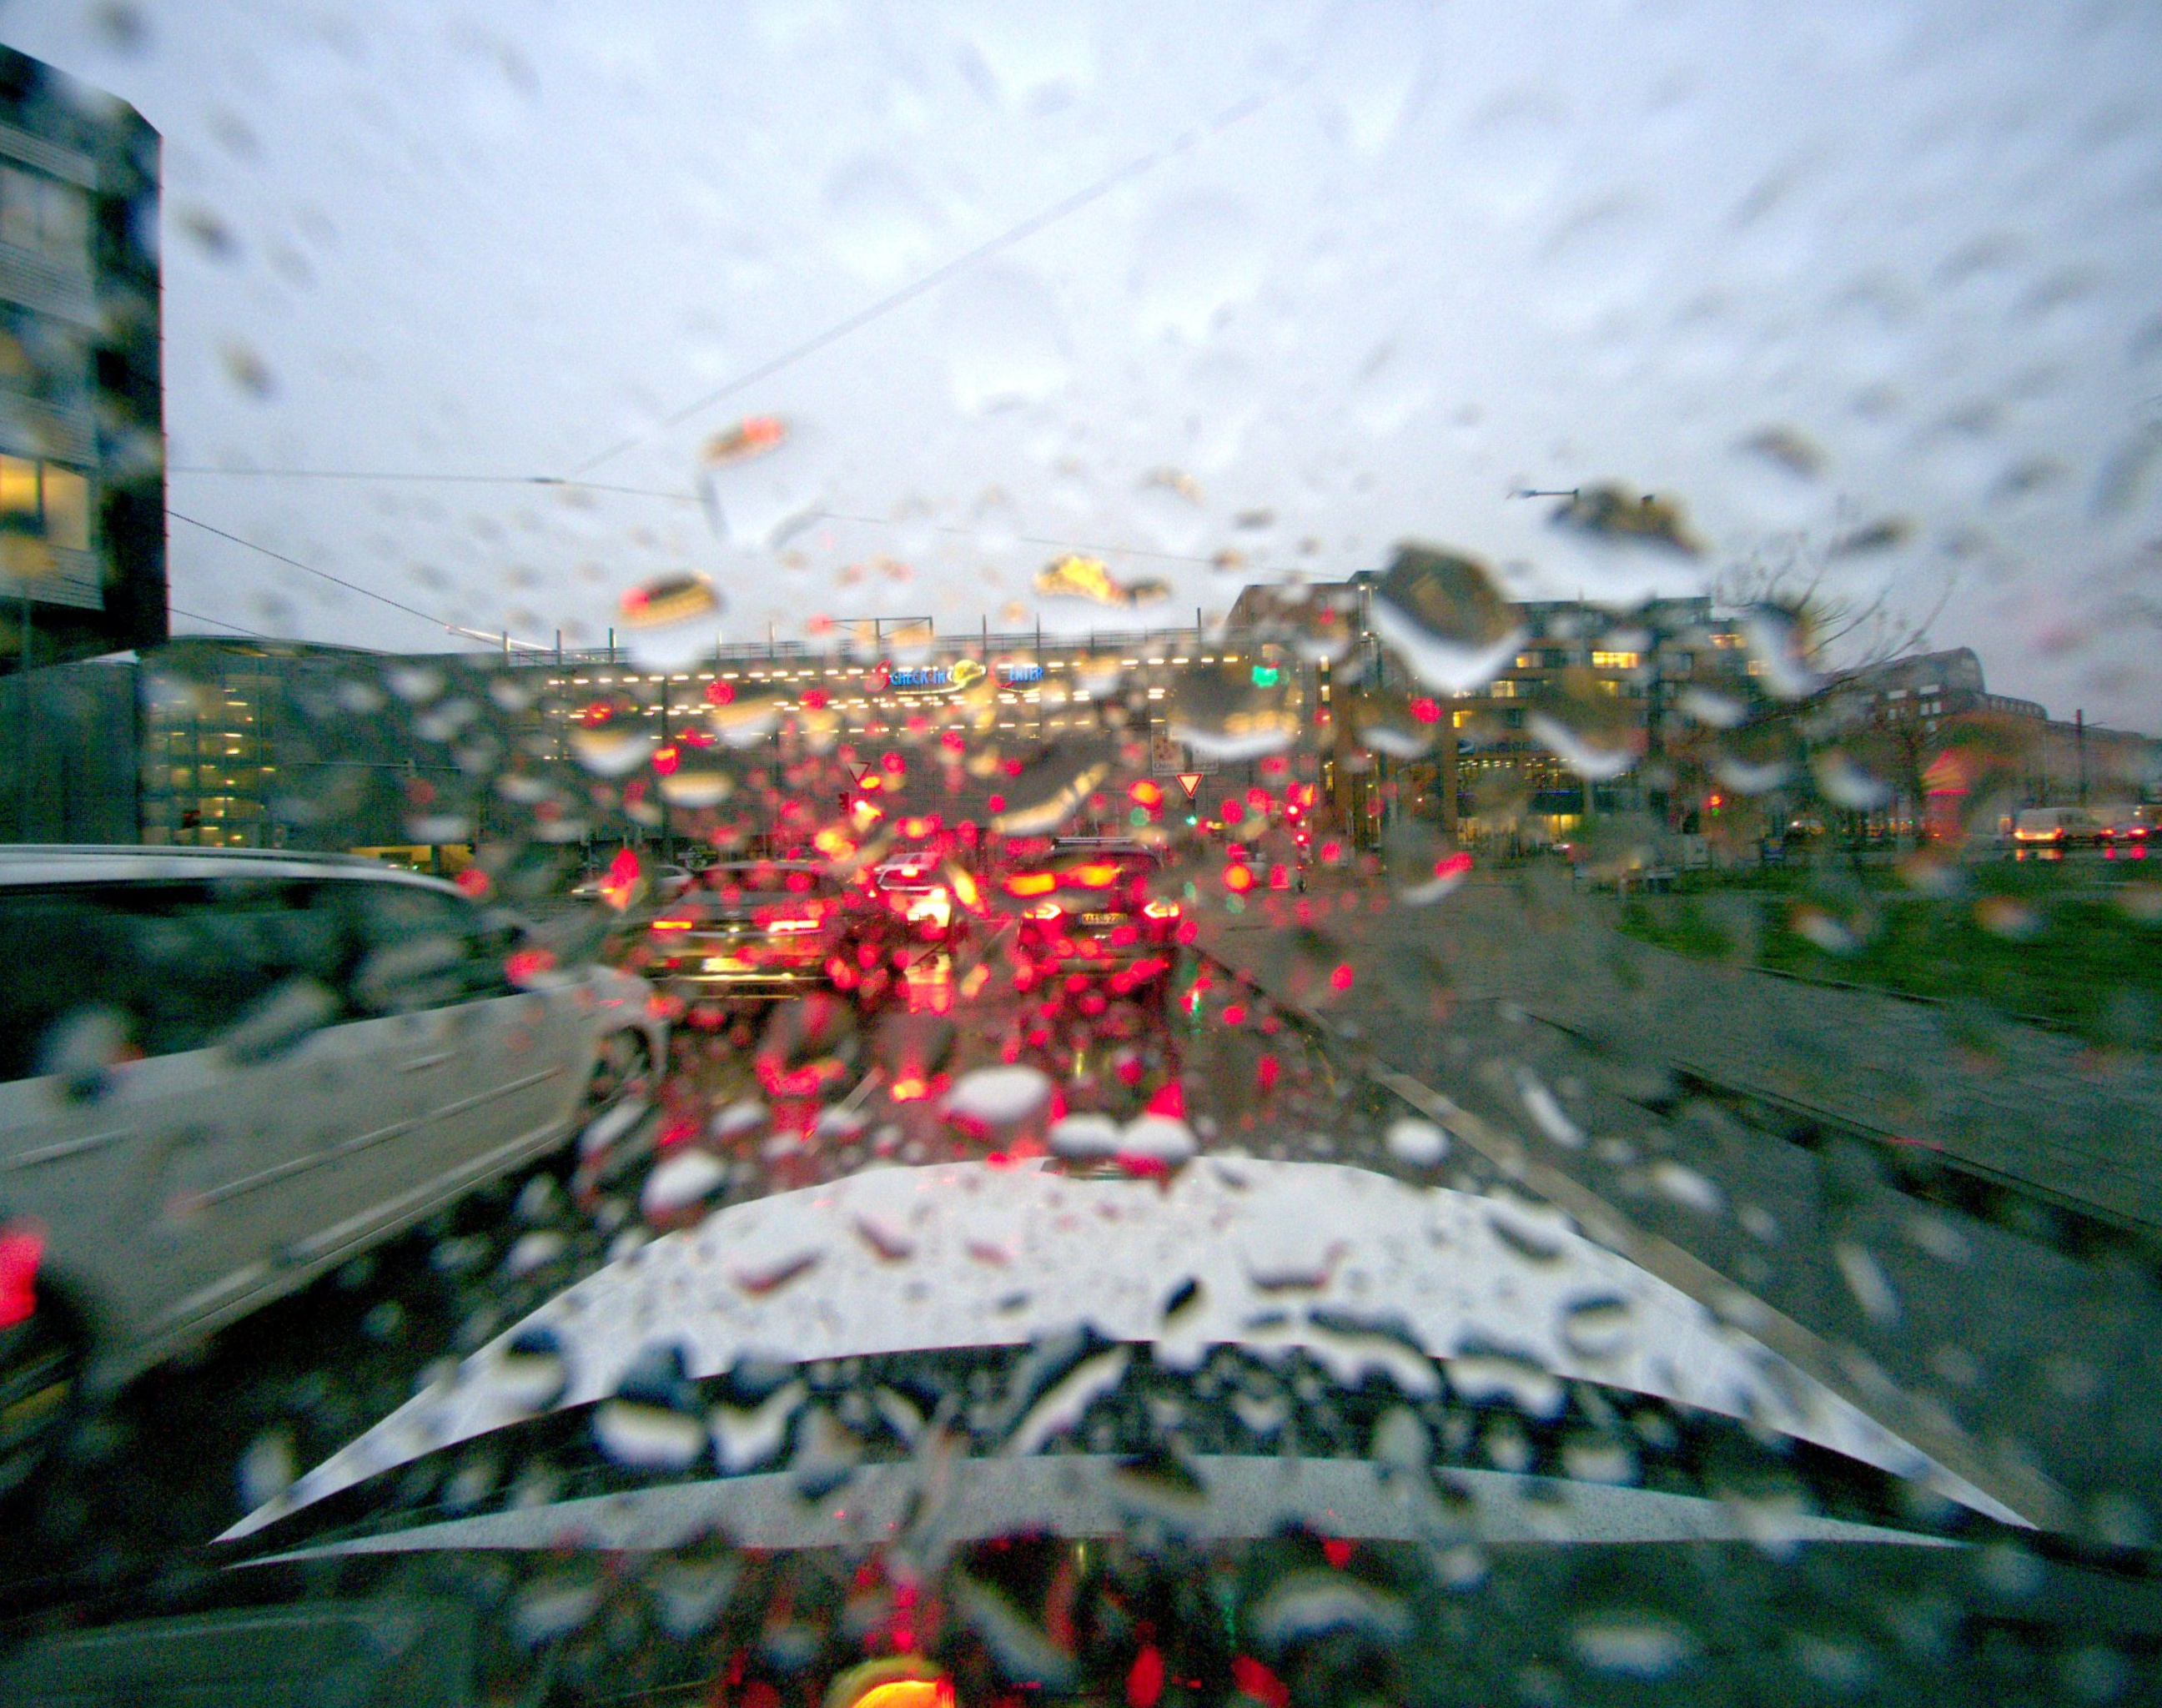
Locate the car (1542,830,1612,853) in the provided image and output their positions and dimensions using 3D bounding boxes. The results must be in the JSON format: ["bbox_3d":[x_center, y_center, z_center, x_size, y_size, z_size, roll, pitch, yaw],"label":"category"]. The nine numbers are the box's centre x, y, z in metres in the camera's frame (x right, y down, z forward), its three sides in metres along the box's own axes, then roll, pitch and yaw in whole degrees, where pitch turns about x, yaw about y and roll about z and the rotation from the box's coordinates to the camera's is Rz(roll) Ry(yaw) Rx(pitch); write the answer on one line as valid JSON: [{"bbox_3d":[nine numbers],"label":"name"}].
[{"bbox_3d":[40.499,-0.985,66.573,4.583,1.719,1.928,-2,0,-3],"label":"car"}]

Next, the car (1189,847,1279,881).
[{"bbox_3d":[6.668,0.421,35.366,3.748,1.361,1.627,-2,0,-35],"label":"car"}]

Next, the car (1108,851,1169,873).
[{"bbox_3d":[4.384,0.587,61.801,4.356,1.486,1.848,-2,0,-31],"label":"car"}]

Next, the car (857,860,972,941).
[{"bbox_3d":[-3.385,0.888,17.217,1.754,1.463,3.913,-1,0,-3],"label":"car"}]

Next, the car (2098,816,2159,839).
[{"bbox_3d":[72.312,-1.826,56.231,3.469,1.520,1.513,-1,-1,-19],"label":"car"}]

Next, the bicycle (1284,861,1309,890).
[{"bbox_3d":[7.746,0.749,29.365,0.651,0.973,1.871,-2,0,8],"label":"bicycle"}]

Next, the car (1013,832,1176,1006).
[{"bbox_3d":[0.214,0.668,10.341,1.667,1.779,4.002,0,0,2],"label":"car"}]

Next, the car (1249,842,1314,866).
[{"bbox_3d":[15.586,0.018,63.415,4.628,1.677,1.784,-2,0,-4],"label":"car"}]

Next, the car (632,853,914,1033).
[{"bbox_3d":[-3.242,0.815,9.591,1.817,1.570,4.356,-2,0,-3],"label":"car"}]

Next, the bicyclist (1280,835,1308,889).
[{"bbox_3d":[7.654,0.271,29.313,0.786,1.890,0.991,-2,0,8],"label":"bicyclist"}]

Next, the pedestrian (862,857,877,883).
[{"bbox_3d":[-19.918,1.514,76.750,1.106,2.439,0.966,0,-1,2],"label":"pedestrian"}]

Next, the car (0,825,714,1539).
[{"bbox_3d":[-3.232,0.747,3.101,1.665,1.599,4.224,-1,0,1],"label":"car"}]

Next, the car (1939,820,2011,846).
[{"bbox_3d":[57.184,-1.332,52.114,3.681,1.496,1.635,-2,0,-16],"label":"car"}]

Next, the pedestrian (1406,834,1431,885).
[{"bbox_3d":[12.733,0.202,30.721,0.766,1.877,0.639,-2,-1,25],"label":"pedestrian"}]

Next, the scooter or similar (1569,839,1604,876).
[{"bbox_3d":[17.331,0.115,27.927,1.311,1.206,0.331,-2,-1,-26],"label":"scooter or similar"}]

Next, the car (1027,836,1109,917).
[{"bbox_3d":[-0.339,0.510,20.887,1.838,1.806,4.484,-2,0,-1],"label":"car"}]

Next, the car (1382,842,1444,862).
[{"bbox_3d":[26.598,-0.155,65.209,4.410,1.444,1.623,-2,0,-11],"label":"car"}]

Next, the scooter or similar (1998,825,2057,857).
[{"bbox_3d":[36.841,-0.507,31.715,1.548,1.227,0.669,0,-1,-3],"label":"scooter or similar"}]

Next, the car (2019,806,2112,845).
[{"bbox_3d":[65.693,-1.915,54.333,5.973,2.427,1.987,-2,0,-19],"label":"car"}]

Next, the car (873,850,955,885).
[{"bbox_3d":[-9.636,0.766,47.465,1.881,1.871,4.993,-2,0,28],"label":"car"}]

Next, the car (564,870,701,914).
[{"bbox_3d":[-16.554,1.371,30.368,1.626,1.386,4.498,-2,0,19],"label":"car"}]
